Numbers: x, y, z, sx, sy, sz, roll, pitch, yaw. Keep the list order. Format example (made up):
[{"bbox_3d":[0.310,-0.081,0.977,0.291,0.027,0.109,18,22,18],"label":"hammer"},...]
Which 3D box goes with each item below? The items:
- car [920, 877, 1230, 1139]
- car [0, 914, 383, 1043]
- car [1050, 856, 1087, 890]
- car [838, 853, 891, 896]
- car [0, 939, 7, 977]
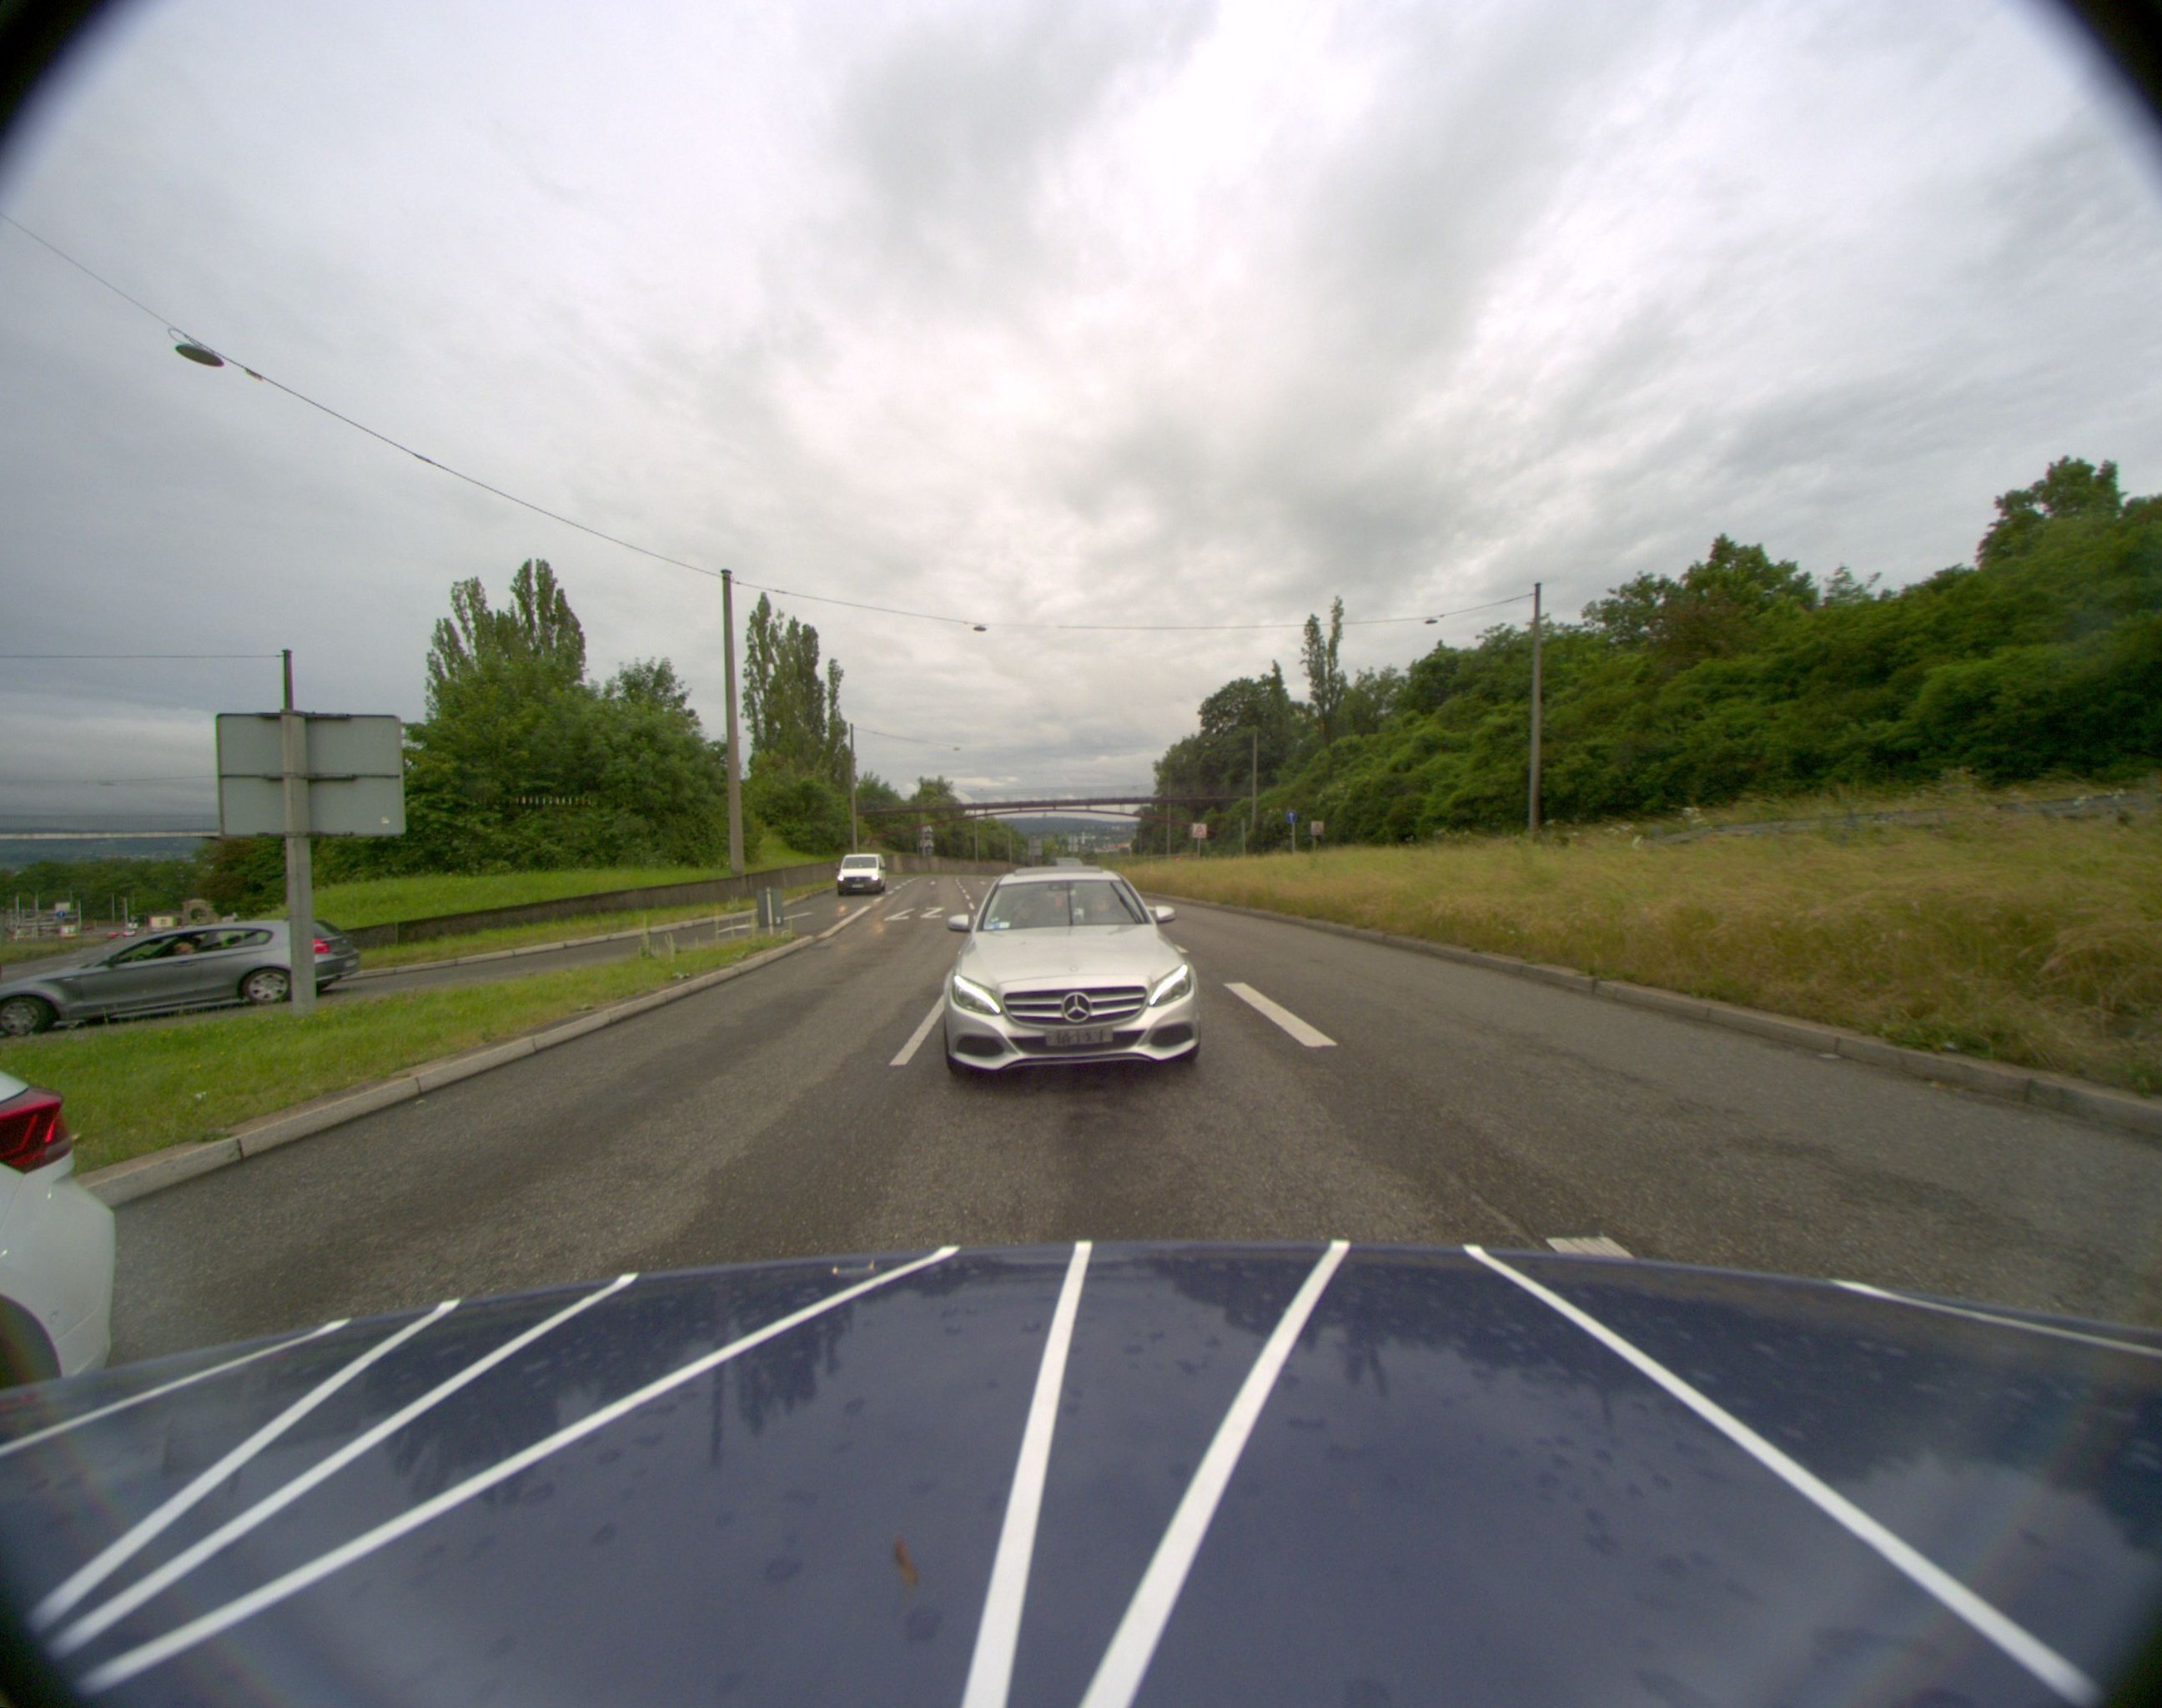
[{"bbox_3d":[-0.203,1.008,6.779,1.895,1.360,4.132,-2,1,-5],"label":"car"},{"bbox_3d":[-14.728,1.968,12.719,4.086,1.412,1.682,-5,0,-28],"label":"car"},{"bbox_3d":[-0.670,0.892,37.540,1.646,1.496,3.776,-2,1,-3],"label":"car"},{"bbox_3d":[-10.204,0.913,36.134,2.000,1.837,4.818,0,1,-11],"label":"car"},{"bbox_3d":[-41.734,4.082,27.796,1.703,1.467,4.280,-3,1,-40],"label":"car"}]
